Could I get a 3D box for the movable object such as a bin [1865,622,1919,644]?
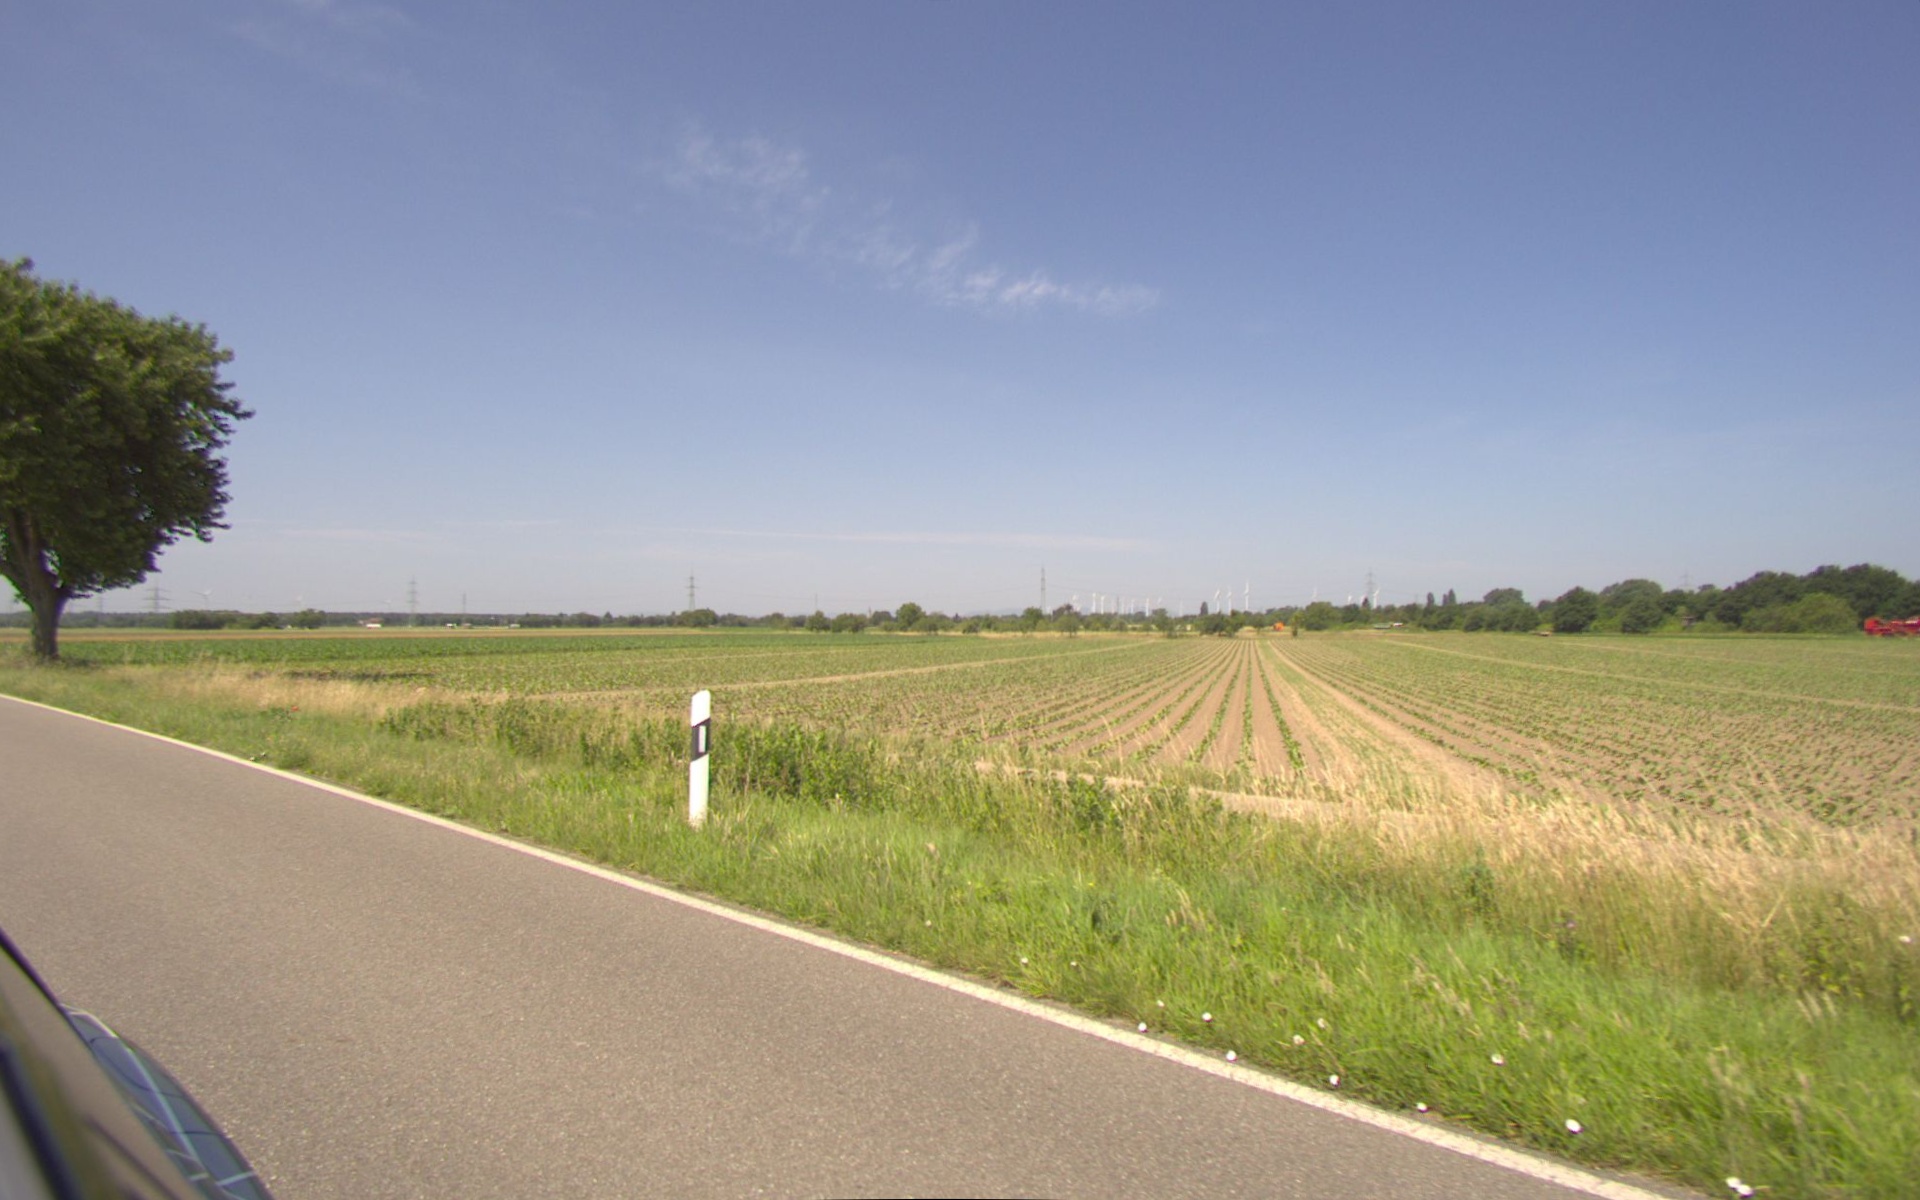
[{"bbox_3d":[168.565,5.986,181.439,2.506,3.878,9.998,1,-2,-9],"label":"movable object such as a bin"}]
